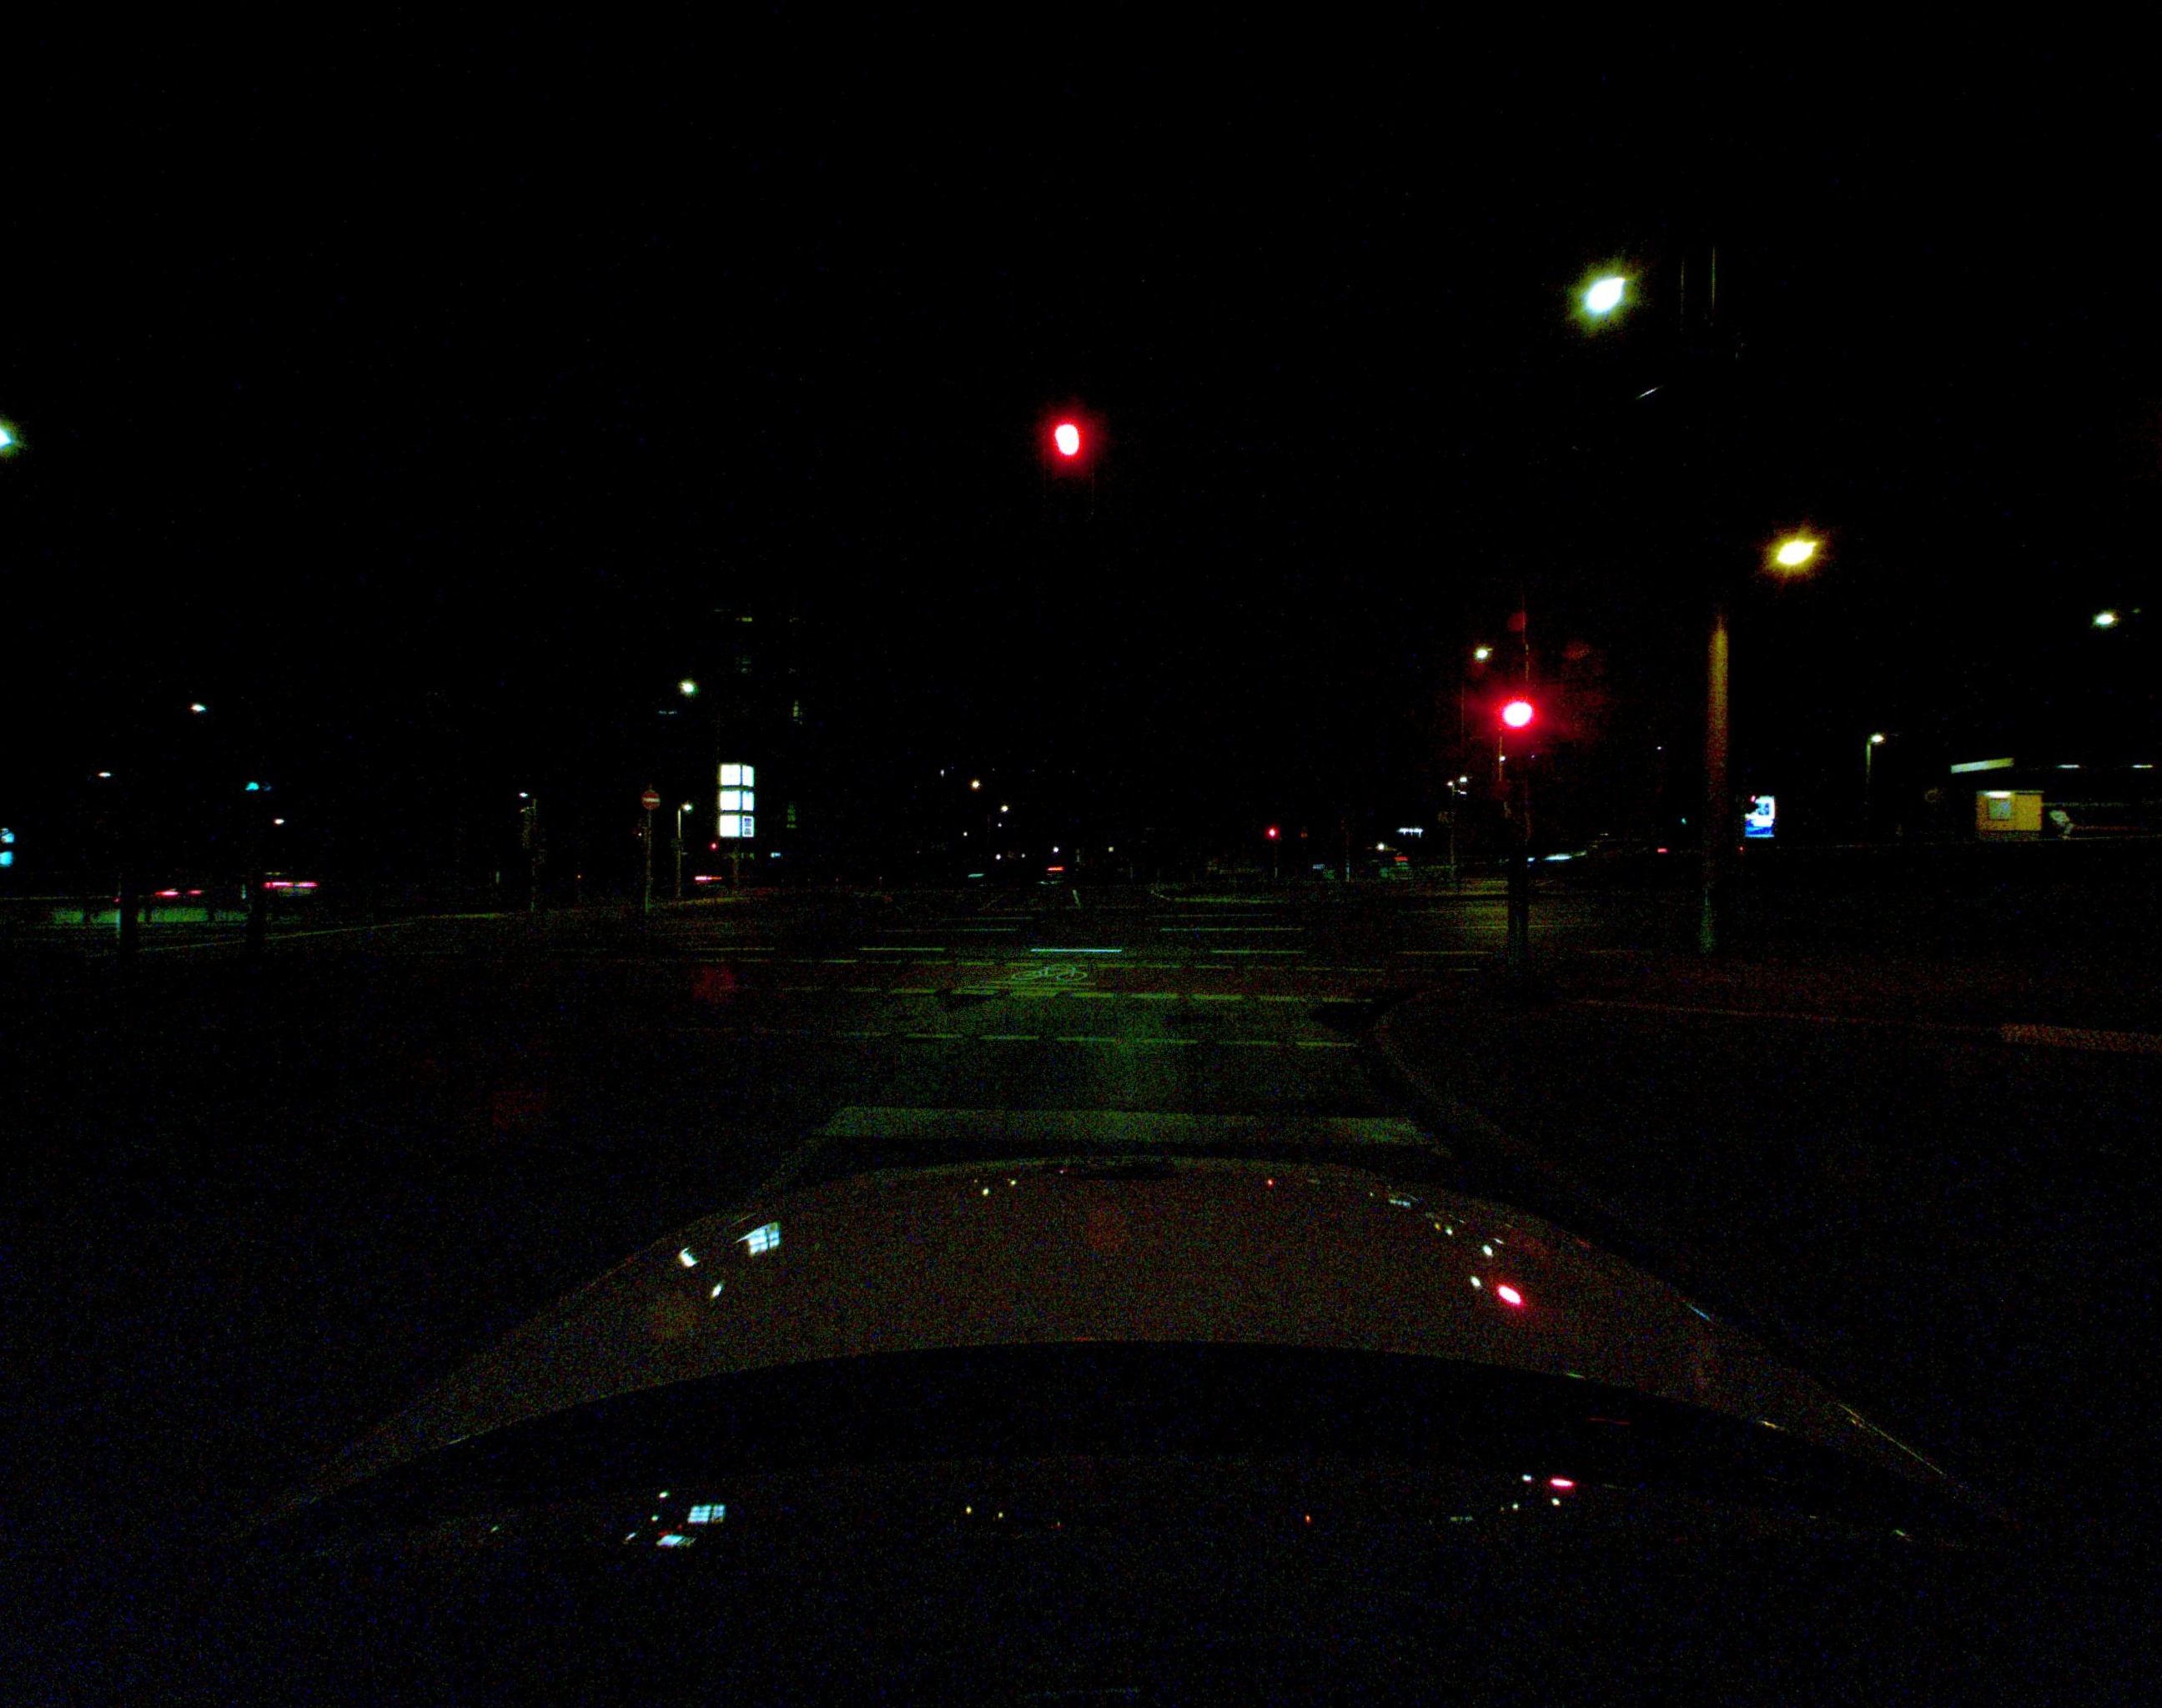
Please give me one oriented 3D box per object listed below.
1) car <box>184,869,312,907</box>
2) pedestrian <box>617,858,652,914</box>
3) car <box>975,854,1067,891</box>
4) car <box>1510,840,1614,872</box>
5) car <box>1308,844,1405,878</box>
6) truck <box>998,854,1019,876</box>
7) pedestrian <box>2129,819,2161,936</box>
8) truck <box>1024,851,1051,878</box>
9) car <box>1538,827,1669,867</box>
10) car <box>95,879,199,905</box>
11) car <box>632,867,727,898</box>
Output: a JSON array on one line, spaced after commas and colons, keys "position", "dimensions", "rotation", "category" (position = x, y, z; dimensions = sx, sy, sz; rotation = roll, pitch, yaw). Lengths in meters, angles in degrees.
[{"position": [-41.994, 1.683, 41.114], "dimensions": [4.757, 1.844, 1.845], "rotation": [0, -1, 5], "category": "car"}, {"position": [-14.018, 1.007, 25.571], "dimensions": [0.670, 1.722, 0.710], "rotation": [-1, -2, 28], "category": "pedestrian"}, {"position": [-2.754, 0.853, 37.921], "dimensions": [3.969, 1.585, 1.805], "rotation": [-2, -1, 4], "category": "car"}, {"position": [24.498, 0.111, 41.600], "dimensions": [4.215, 1.585, 1.889], "rotation": [0, -1, 4], "category": "car"}, {"position": [13.314, 0.339, 39.555], "dimensions": [4.212, 1.585, 1.806], "rotation": [0, -1, 6], "category": "car"}, {"position": [-10.850, 1.663, 121.184], "dimensions": [2.419, 3.089, 6.412], "rotation": [0, -1, -11], "category": "truck"}, {"position": [15.853, 0.299, 11.579], "dimensions": [0.870, 1.656, 0.843], "rotation": [-7, -5, 42], "category": "pedestrian"}, {"position": [-7.988, 1.944, 149.257], "dimensions": [3.366, 4.843, 7.865], "rotation": [0, -1, -14], "category": "truck"}, {"position": [22.954, -0.310, 35.896], "dimensions": [4.551, 1.585, 1.848], "rotation": [-2, 1, 3], "category": "car"}, {"position": [-55.951, 2.266, 48.832], "dimensions": [4.306, 1.388, 1.845], "rotation": [-2, -1, 5], "category": "car"}, {"position": [-20.983, 1.473, 42.645], "dimensions": [4.041, 1.424, 1.846], "rotation": [-1, 1, 5], "category": "car"}]
